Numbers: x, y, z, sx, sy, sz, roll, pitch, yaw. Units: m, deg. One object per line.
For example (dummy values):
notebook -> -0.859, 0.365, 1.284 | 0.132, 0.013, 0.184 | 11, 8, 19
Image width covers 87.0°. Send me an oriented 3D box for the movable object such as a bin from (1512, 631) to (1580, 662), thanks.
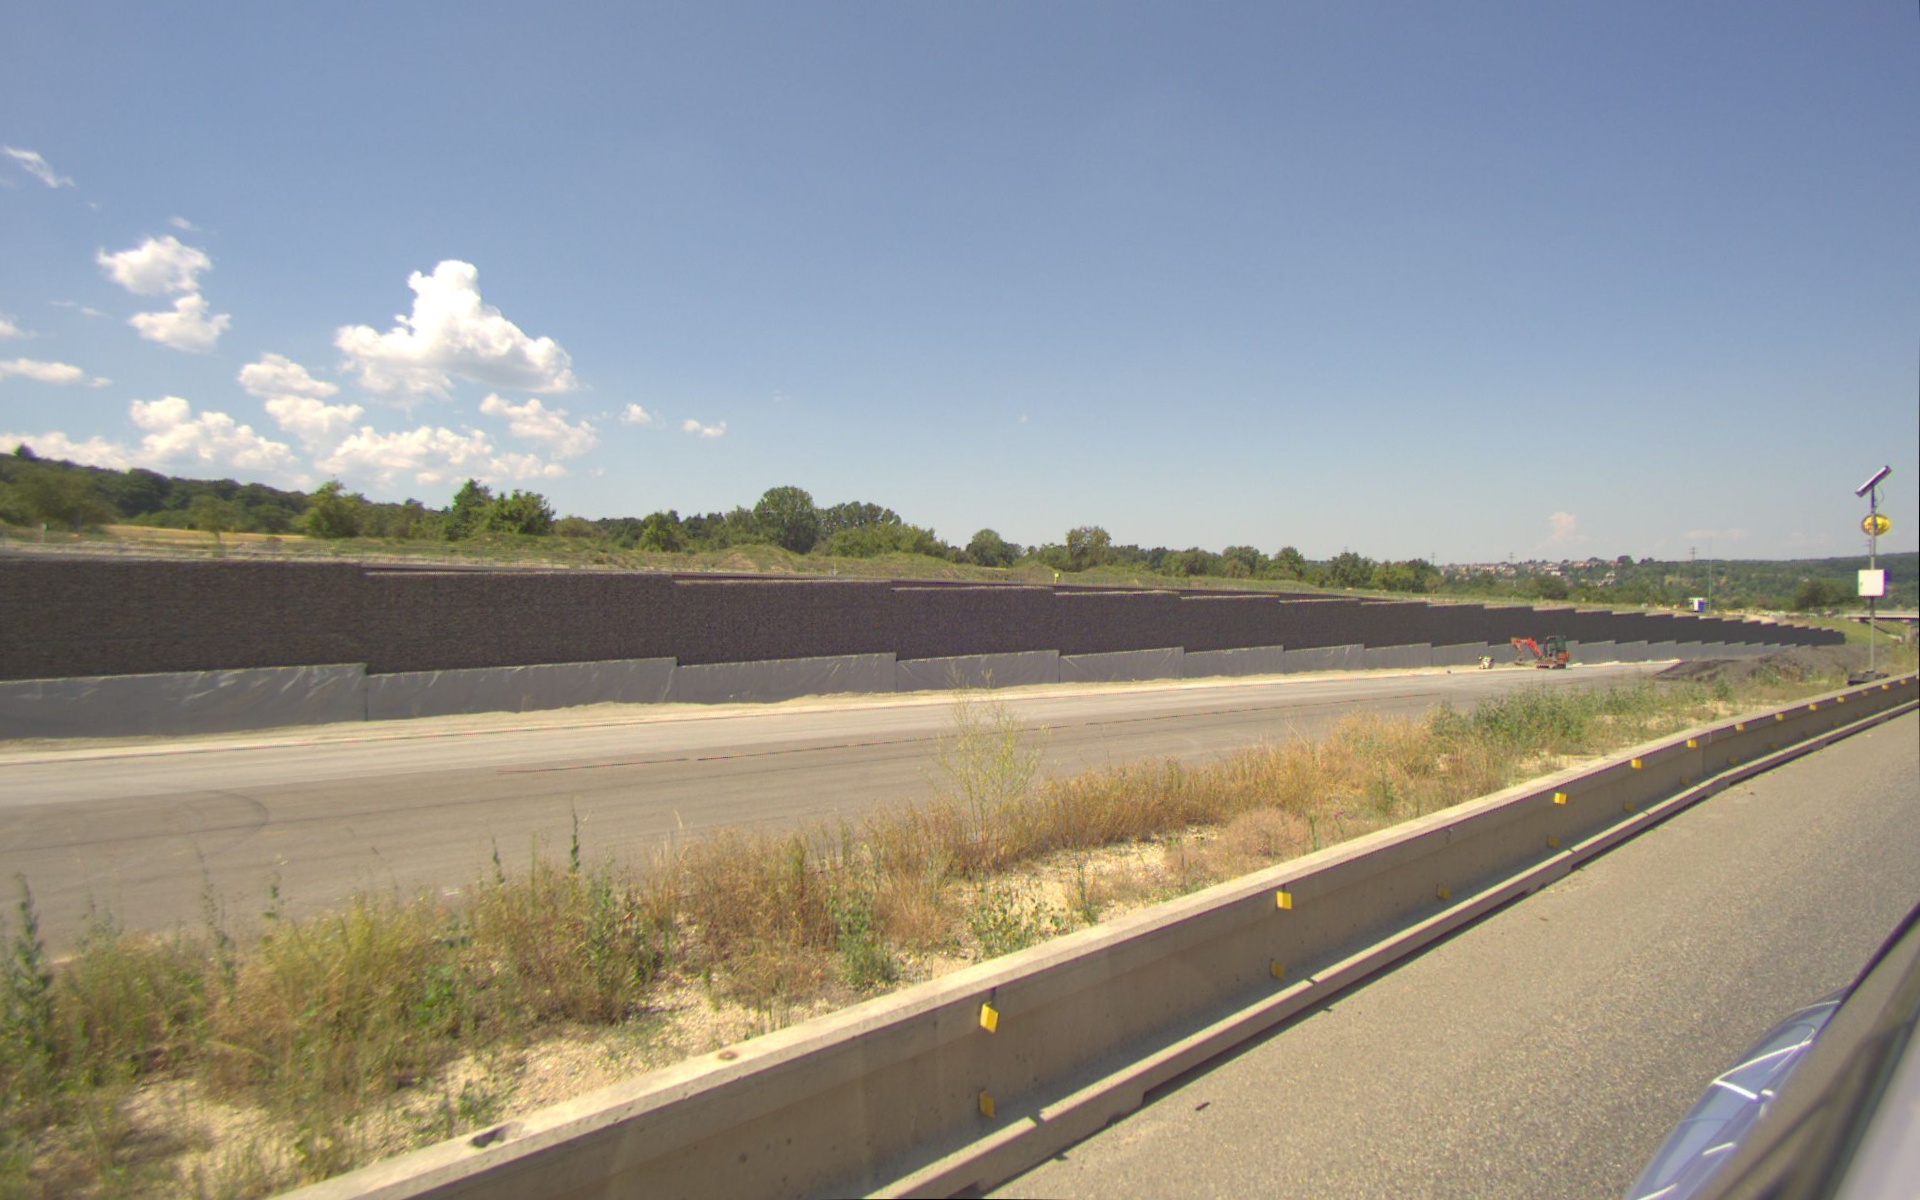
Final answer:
movable object such as a bin -> 43.348, 3.414, 74.924 | 4.086, 2.175, 1.749 | 0, 0, 23
